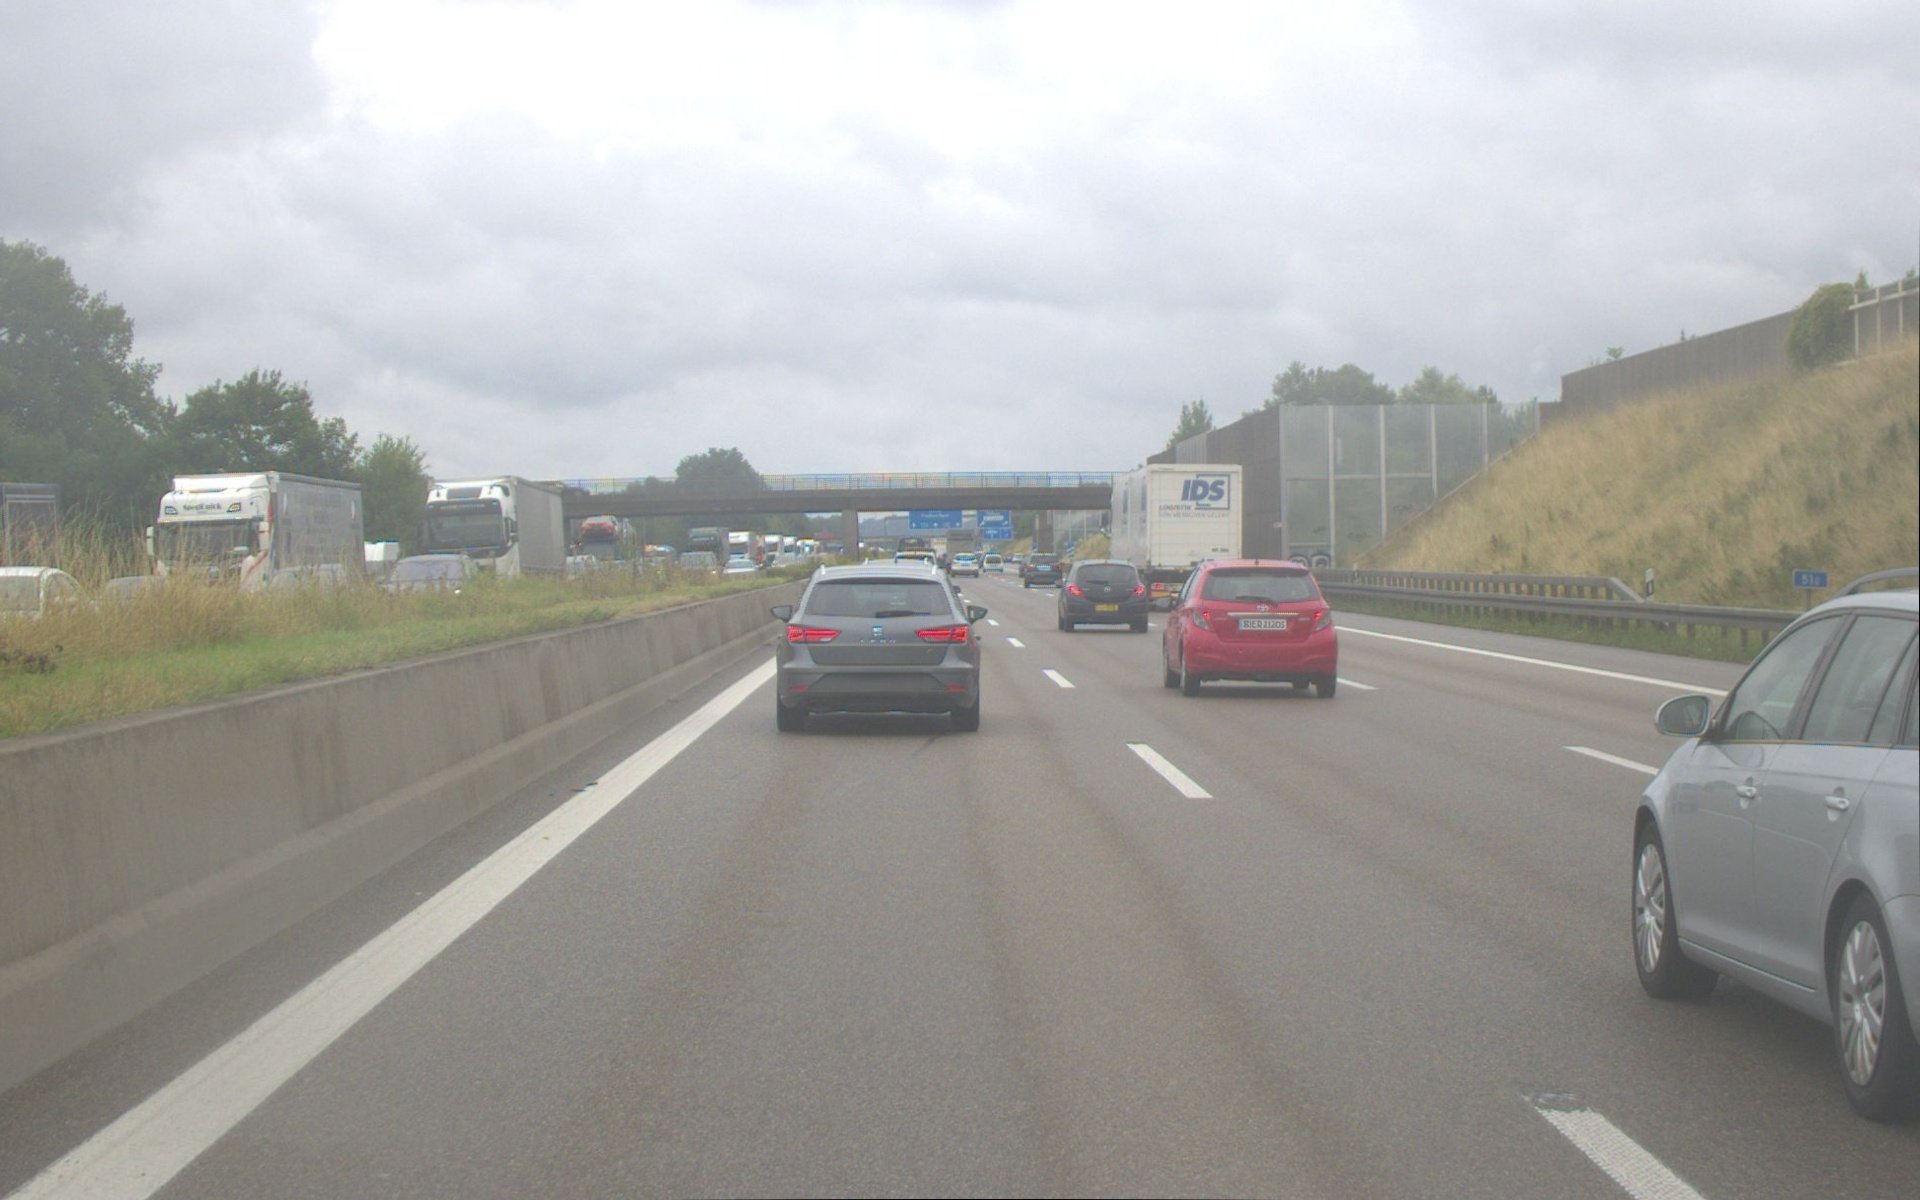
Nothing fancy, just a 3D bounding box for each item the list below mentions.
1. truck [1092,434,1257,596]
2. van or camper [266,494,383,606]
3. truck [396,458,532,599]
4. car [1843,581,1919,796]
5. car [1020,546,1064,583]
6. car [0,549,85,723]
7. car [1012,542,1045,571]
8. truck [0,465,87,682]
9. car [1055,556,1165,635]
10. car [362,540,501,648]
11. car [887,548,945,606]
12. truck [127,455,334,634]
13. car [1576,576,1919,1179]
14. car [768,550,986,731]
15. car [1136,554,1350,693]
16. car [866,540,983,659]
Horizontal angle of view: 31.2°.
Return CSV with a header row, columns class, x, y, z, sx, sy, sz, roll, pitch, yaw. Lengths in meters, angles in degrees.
class,x,y,z,sx,sy,sz,roll,pitch,yaw
truck,6.100,-2.339,101.506,3.283,4.280,19.034,1,0,-1
van or camper,-20.687,-1.618,112.244,2.708,3.491,7.701,1,0,-3
truck,-14.554,-2.063,101.380,3.092,3.962,6.372,1,0,-1
car,7.109,0.589,22.248,1.702,1.396,3.875,1,0,-1
car,3.854,-1.670,161.869,1.845,1.681,4.000,1,0,-2
car,-10.302,0.332,35.000,1.781,1.711,4.000,1,0,-1
car,4.539,-2.898,226.842,1.993,1.806,4.228,-2,1,-1
truck,-13.979,-0.378,46.840,2.311,2.898,7.424,1,0,-1
car,3.010,-0.116,69.881,1.921,1.516,4.622,0,1,-1
car,-10.265,-0.154,67.111,1.993,2.007,4.801,-1,1,-1
car,-1.443,-0.745,110.886,1.704,1.790,3.855,-2,1,-2
truck,-18.264,-1.360,86.609,3.615,4.260,7.592,1,0,-1
car,3.162,0.660,10.289,1.742,1.420,4.517,-1,1,-1
car,-0.758,0.319,30.233,1.768,1.462,4.000,1,0,-2
car,3.113,0.219,38.708,1.891,1.442,4.685,0,1,-2
car,-0.592,-0.037,56.515,1.825,1.844,4.000,-1,1,-1
